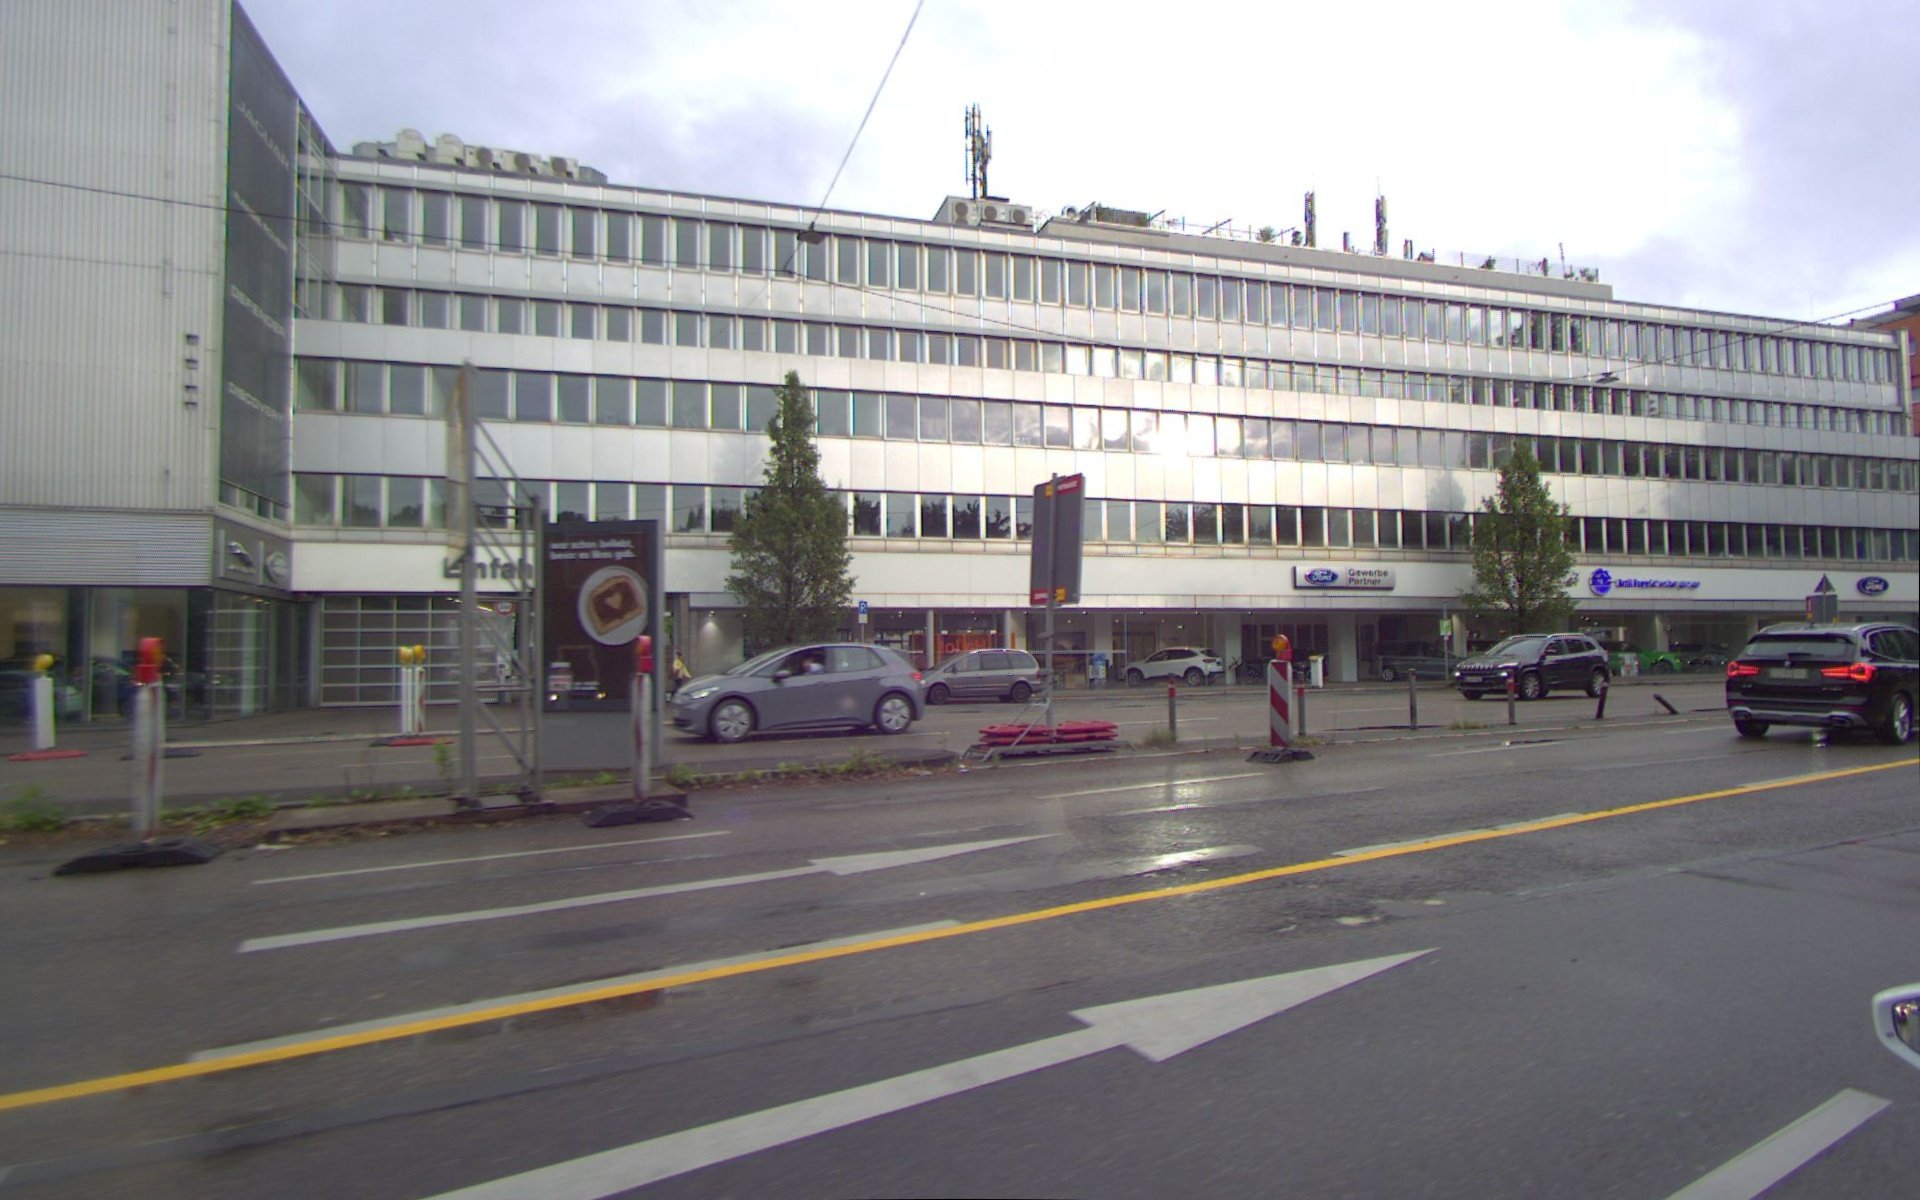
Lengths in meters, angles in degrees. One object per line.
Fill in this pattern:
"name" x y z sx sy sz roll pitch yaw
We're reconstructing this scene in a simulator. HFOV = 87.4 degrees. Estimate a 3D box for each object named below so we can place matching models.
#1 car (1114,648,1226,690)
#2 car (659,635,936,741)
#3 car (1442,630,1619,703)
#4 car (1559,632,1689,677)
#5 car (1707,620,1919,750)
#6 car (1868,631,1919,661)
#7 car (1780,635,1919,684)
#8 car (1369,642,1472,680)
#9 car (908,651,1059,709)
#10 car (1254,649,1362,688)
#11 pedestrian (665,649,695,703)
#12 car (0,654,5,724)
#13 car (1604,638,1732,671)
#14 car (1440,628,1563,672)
"car" 8.982 2.972 43.039 4.308 1.673 1.852 -4 -5 30
"car" -2.689 1.424 16.834 4.248 1.578 1.801 1 -4 -29
"car" 14.956 1.731 26.299 4.546 1.760 1.839 1 -4 -28
"car" 32.429 2.721 49.261 5.116 2.037 1.996 -4 -5 31
"car" 13.355 1.135 14.813 4.610 1.619 1.940 0 -1 -28
"car" 68.119 3.322 72.483 4.782 2.041 1.989 1 1 -23
"car" 29.537 1.982 33.334 4.313 1.521 1.826 1 -5 -25
"car" 21.099 2.833 46.054 3.938 1.594 1.993 -5 -6 37
"car" 0.756 2.636 33.407 4.652 1.801 1.849 0 -5 -16
"car" 15.020 2.972 43.483 3.930 1.594 1.997 0 -5 -12
"pedestrian" -9.266 2.517 33.206 0.657 1.742 0.706 -3 -5 30
"car" -22.744 1.889 20.925 3.700 1.554 1.651 1 -5 -21
"car" 37.140 2.901 52.819 1.983 1.540 5.150 3 -6 -38
"car" 25.776 2.450 48.052 4.893 1.921 2.000 -3 -5 23
